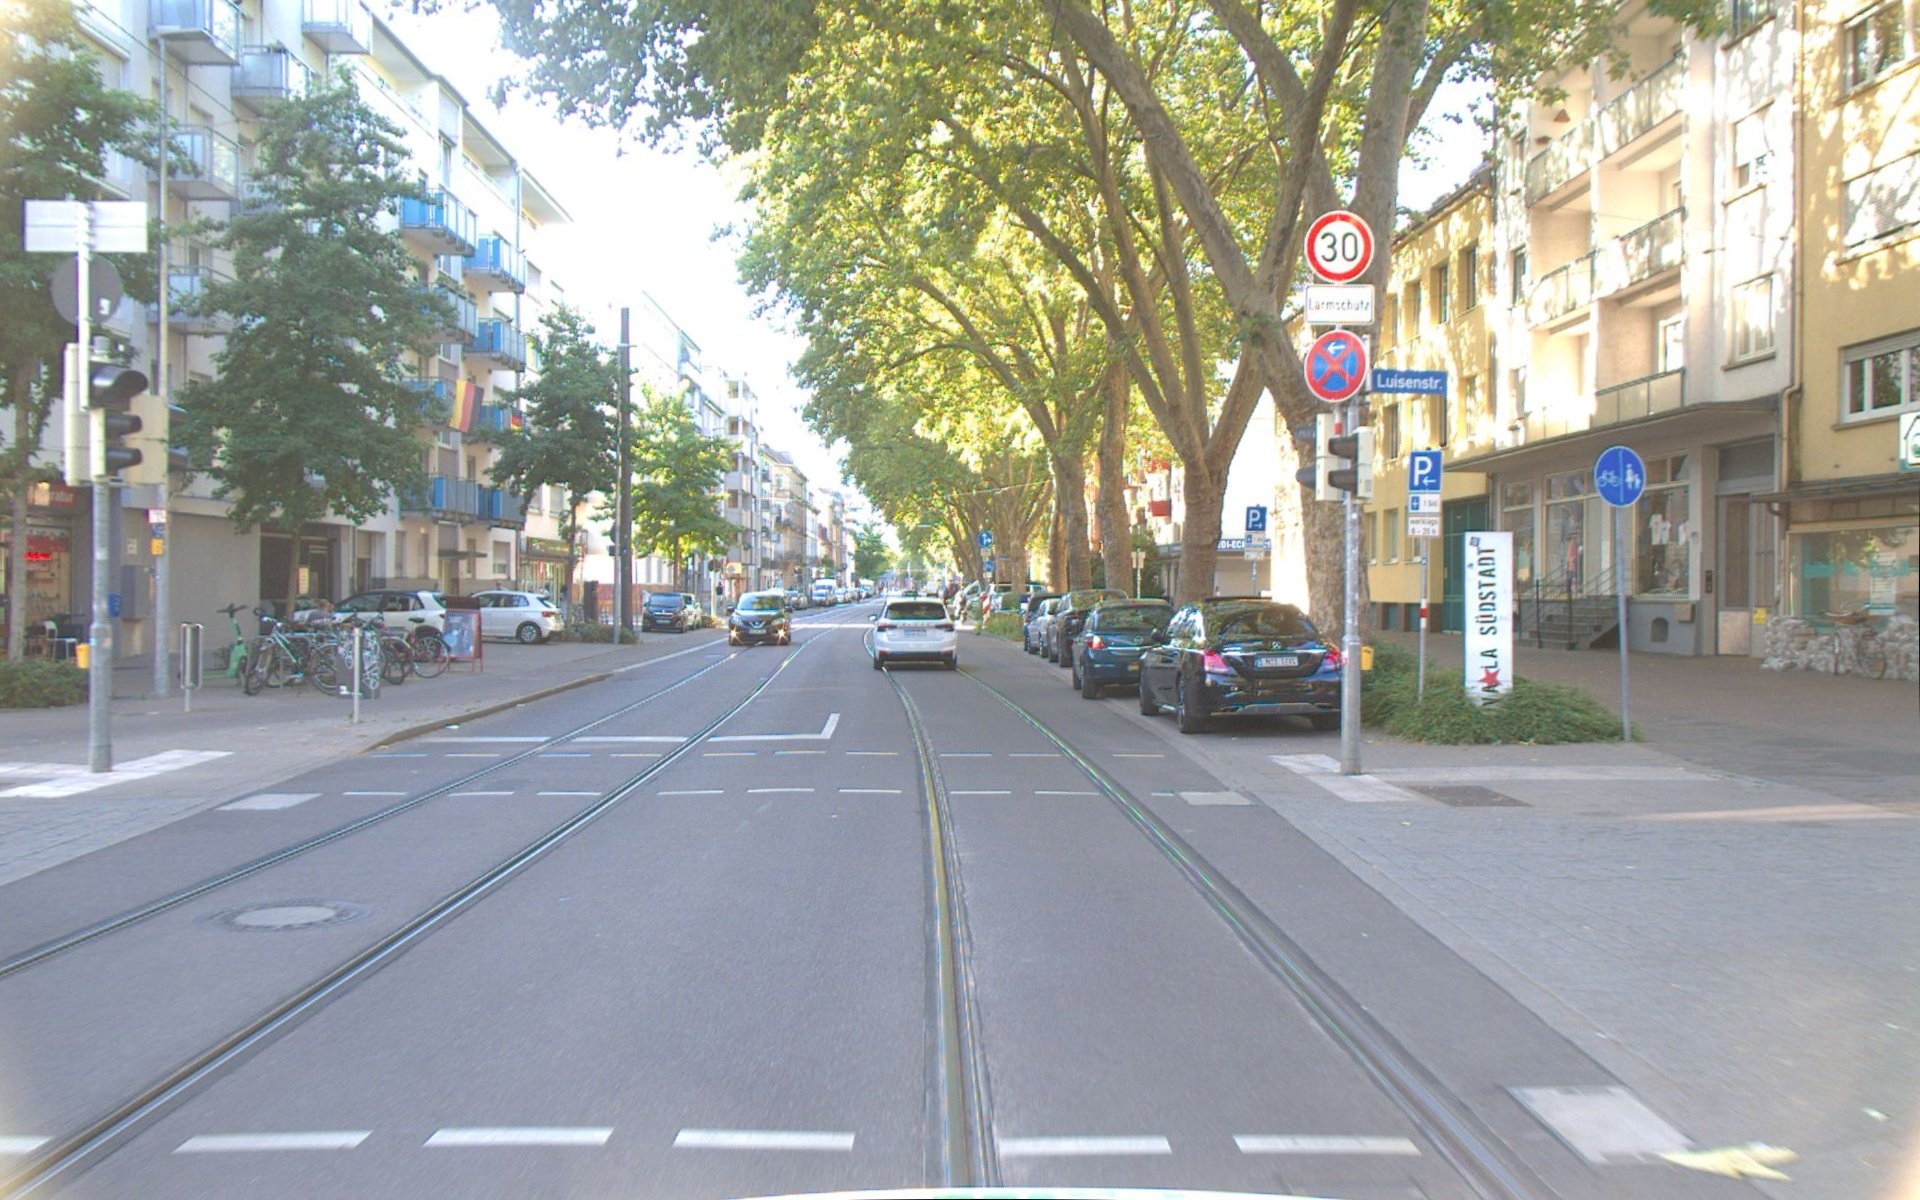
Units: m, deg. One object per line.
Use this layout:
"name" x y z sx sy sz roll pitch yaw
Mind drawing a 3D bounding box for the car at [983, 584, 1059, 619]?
"car" 3.697 0.084 101.069 4.454 2.113 1.999 0 0 -4

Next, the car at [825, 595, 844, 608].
"car" -14.325 0.172 189.506 1.953 1.557 3.999 0 0 -1

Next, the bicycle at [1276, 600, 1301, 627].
"bicycle" 13.917 0.572 70.052 0.571 1.123 1.922 -2 0 -2

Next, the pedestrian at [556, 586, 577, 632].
"pedestrian" -14.904 0.348 62.645 0.650 1.720 0.748 0 0 -3

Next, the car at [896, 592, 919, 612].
"car" -4.018 0.135 127.005 1.726 1.501 3.999 0 0 -1

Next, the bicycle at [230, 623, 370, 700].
"bicycle" -9.137 0.853 22.931 1.658 1.025 0.657 1 -1 -7

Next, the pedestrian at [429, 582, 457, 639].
"pedestrian" -15.679 0.306 50.160 0.650 1.720 0.748 0 0 -3

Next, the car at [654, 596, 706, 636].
"car" -11.495 0.631 68.154 1.680 1.489 4.372 3 0 -5

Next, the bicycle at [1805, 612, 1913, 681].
"bicycle" 14.049 0.702 25.908 0.559 1.014 1.778 -2 0 -6

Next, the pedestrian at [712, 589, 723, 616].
"pedestrian" -16.813 0.170 114.830 0.650 1.858 0.965 0 0 -3

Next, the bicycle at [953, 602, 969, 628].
"bicycle" 0.040 0.658 72.930 0.667 1.089 1.780 0 0 -1

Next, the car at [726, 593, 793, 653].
"car" -5.931 0.643 49.105 1.835 1.617 4.141 2 0 -6

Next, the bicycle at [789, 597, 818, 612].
"bicycle" -13.757 0.428 145.489 2.510 1.193 0.870 3 -2 -41

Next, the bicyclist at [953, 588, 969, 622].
"bicyclist" 0.039 0.214 72.757 0.665 1.468 1.047 0 0 -1

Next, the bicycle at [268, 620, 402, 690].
"bicycle" -9.615 0.840 25.489 1.794 1.025 0.657 1 -1 -7

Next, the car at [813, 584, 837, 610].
"car" -13.792 -0.316 169.191 2.134 2.642 4.947 0 0 -1

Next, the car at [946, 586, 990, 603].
"car" 1.069 -0.737 226.852 6.008 2.322 2.528 0 0 -3

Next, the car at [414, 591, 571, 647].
"car" -13.189 0.533 46.845 3.933 1.501 1.850 1 0 -4

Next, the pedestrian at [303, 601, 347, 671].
"pedestrian" -12.247 0.679 31.921 0.700 1.320 0.744 0 0 -15

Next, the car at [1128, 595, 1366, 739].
"car" 3.237 0.690 19.664 1.729 1.488 5.009 0 0 -3

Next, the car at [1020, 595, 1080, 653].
"car" 2.500 0.660 46.443 1.531 1.545 2.910 -1 -1 1

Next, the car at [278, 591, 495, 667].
"car" -12.142 0.602 35.197 3.931 1.501 1.851 1 0 -1

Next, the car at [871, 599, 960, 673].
"car" -0.957 0.702 34.209 1.726 1.408 3.998 0 0 -3

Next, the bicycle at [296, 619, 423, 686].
"bicycle" -9.644 0.840 26.599 1.794 1.025 0.657 1 -1 -7

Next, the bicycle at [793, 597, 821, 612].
"bicycle" -13.906 0.420 150.089 2.477 1.193 0.718 2 -2 -8

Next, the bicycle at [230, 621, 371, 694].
"bicycle" -9.711 0.845 24.398 1.794 1.025 0.657 1 -1 -7

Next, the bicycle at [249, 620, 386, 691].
"bicycle" -9.631 0.830 24.842 1.794 1.025 0.657 1 -1 -7

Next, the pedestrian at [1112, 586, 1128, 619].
"pedestrian" 9.422 0.140 97.582 0.751 1.899 1.187 0 0 -5

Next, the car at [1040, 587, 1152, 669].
"car" 2.920 0.603 36.462 1.821 1.631 4.779 -1 -1 -3

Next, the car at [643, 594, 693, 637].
"car" -11.172 0.575 63.377 1.681 1.489 3.992 3 0 -8

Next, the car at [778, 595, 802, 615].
"car" -13.198 0.379 128.499 1.620 1.462 3.834 0 0 -3

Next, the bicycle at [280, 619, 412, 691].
"bicycle" -9.562 0.849 25.810 1.794 1.082 0.657 1 -1 -7

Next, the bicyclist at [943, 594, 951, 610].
"bicyclist" -1.074 0.159 134.716 0.637 1.367 0.934 0 0 -3

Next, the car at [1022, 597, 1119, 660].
"car" 2.738 0.713 41.911 1.781 1.461 4.598 -1 -1 -5

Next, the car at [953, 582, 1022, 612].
"car" 2.442 -0.293 148.034 6.008 2.681 2.528 0 0 -3

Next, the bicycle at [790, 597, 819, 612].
"bicycle" -13.783 0.427 146.313 2.477 1.193 0.718 2 -2 -8

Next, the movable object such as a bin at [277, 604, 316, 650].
"movable object such as a bin" -15.884 0.649 39.589 0.664 1.074 0.622 0 0 0

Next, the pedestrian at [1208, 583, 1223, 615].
"pedestrian" 13.399 -0.045 86.748 0.731 1.673 0.666 0 0 0

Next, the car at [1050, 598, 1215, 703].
"car" 2.611 0.728 26.047 1.828 1.462 4.222 -1 0 -5

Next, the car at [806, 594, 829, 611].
"car" -13.584 0.216 157.470 1.953 1.557 3.999 0 0 -1

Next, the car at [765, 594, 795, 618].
"car" -12.783 0.397 117.663 1.668 1.571 4.240 2 0 -1

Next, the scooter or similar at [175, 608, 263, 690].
"scooter or similar" -11.095 0.725 24.786 1.058 1.197 0.498 1 -1 -3

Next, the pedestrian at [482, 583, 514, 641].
"pedestrian" -13.817 0.342 49.467 0.748 1.720 0.794 0 0 -3

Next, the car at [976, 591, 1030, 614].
"car" 3.186 0.203 123.185 3.907 1.709 1.723 0 0 -3

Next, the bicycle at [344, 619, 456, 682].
"bicycle" -9.461 0.851 27.978 1.658 1.025 0.657 1 -1 -7

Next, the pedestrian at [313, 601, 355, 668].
"pedestrian" -12.541 0.681 33.153 0.700 1.320 0.908 0 0 -15

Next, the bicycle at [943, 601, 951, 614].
"bicycle" -1.066 0.604 134.703 0.636 1.089 1.582 0 0 -3

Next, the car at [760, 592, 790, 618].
"car" -12.599 0.339 112.831 1.668 1.679 4.239 2 0 -3
